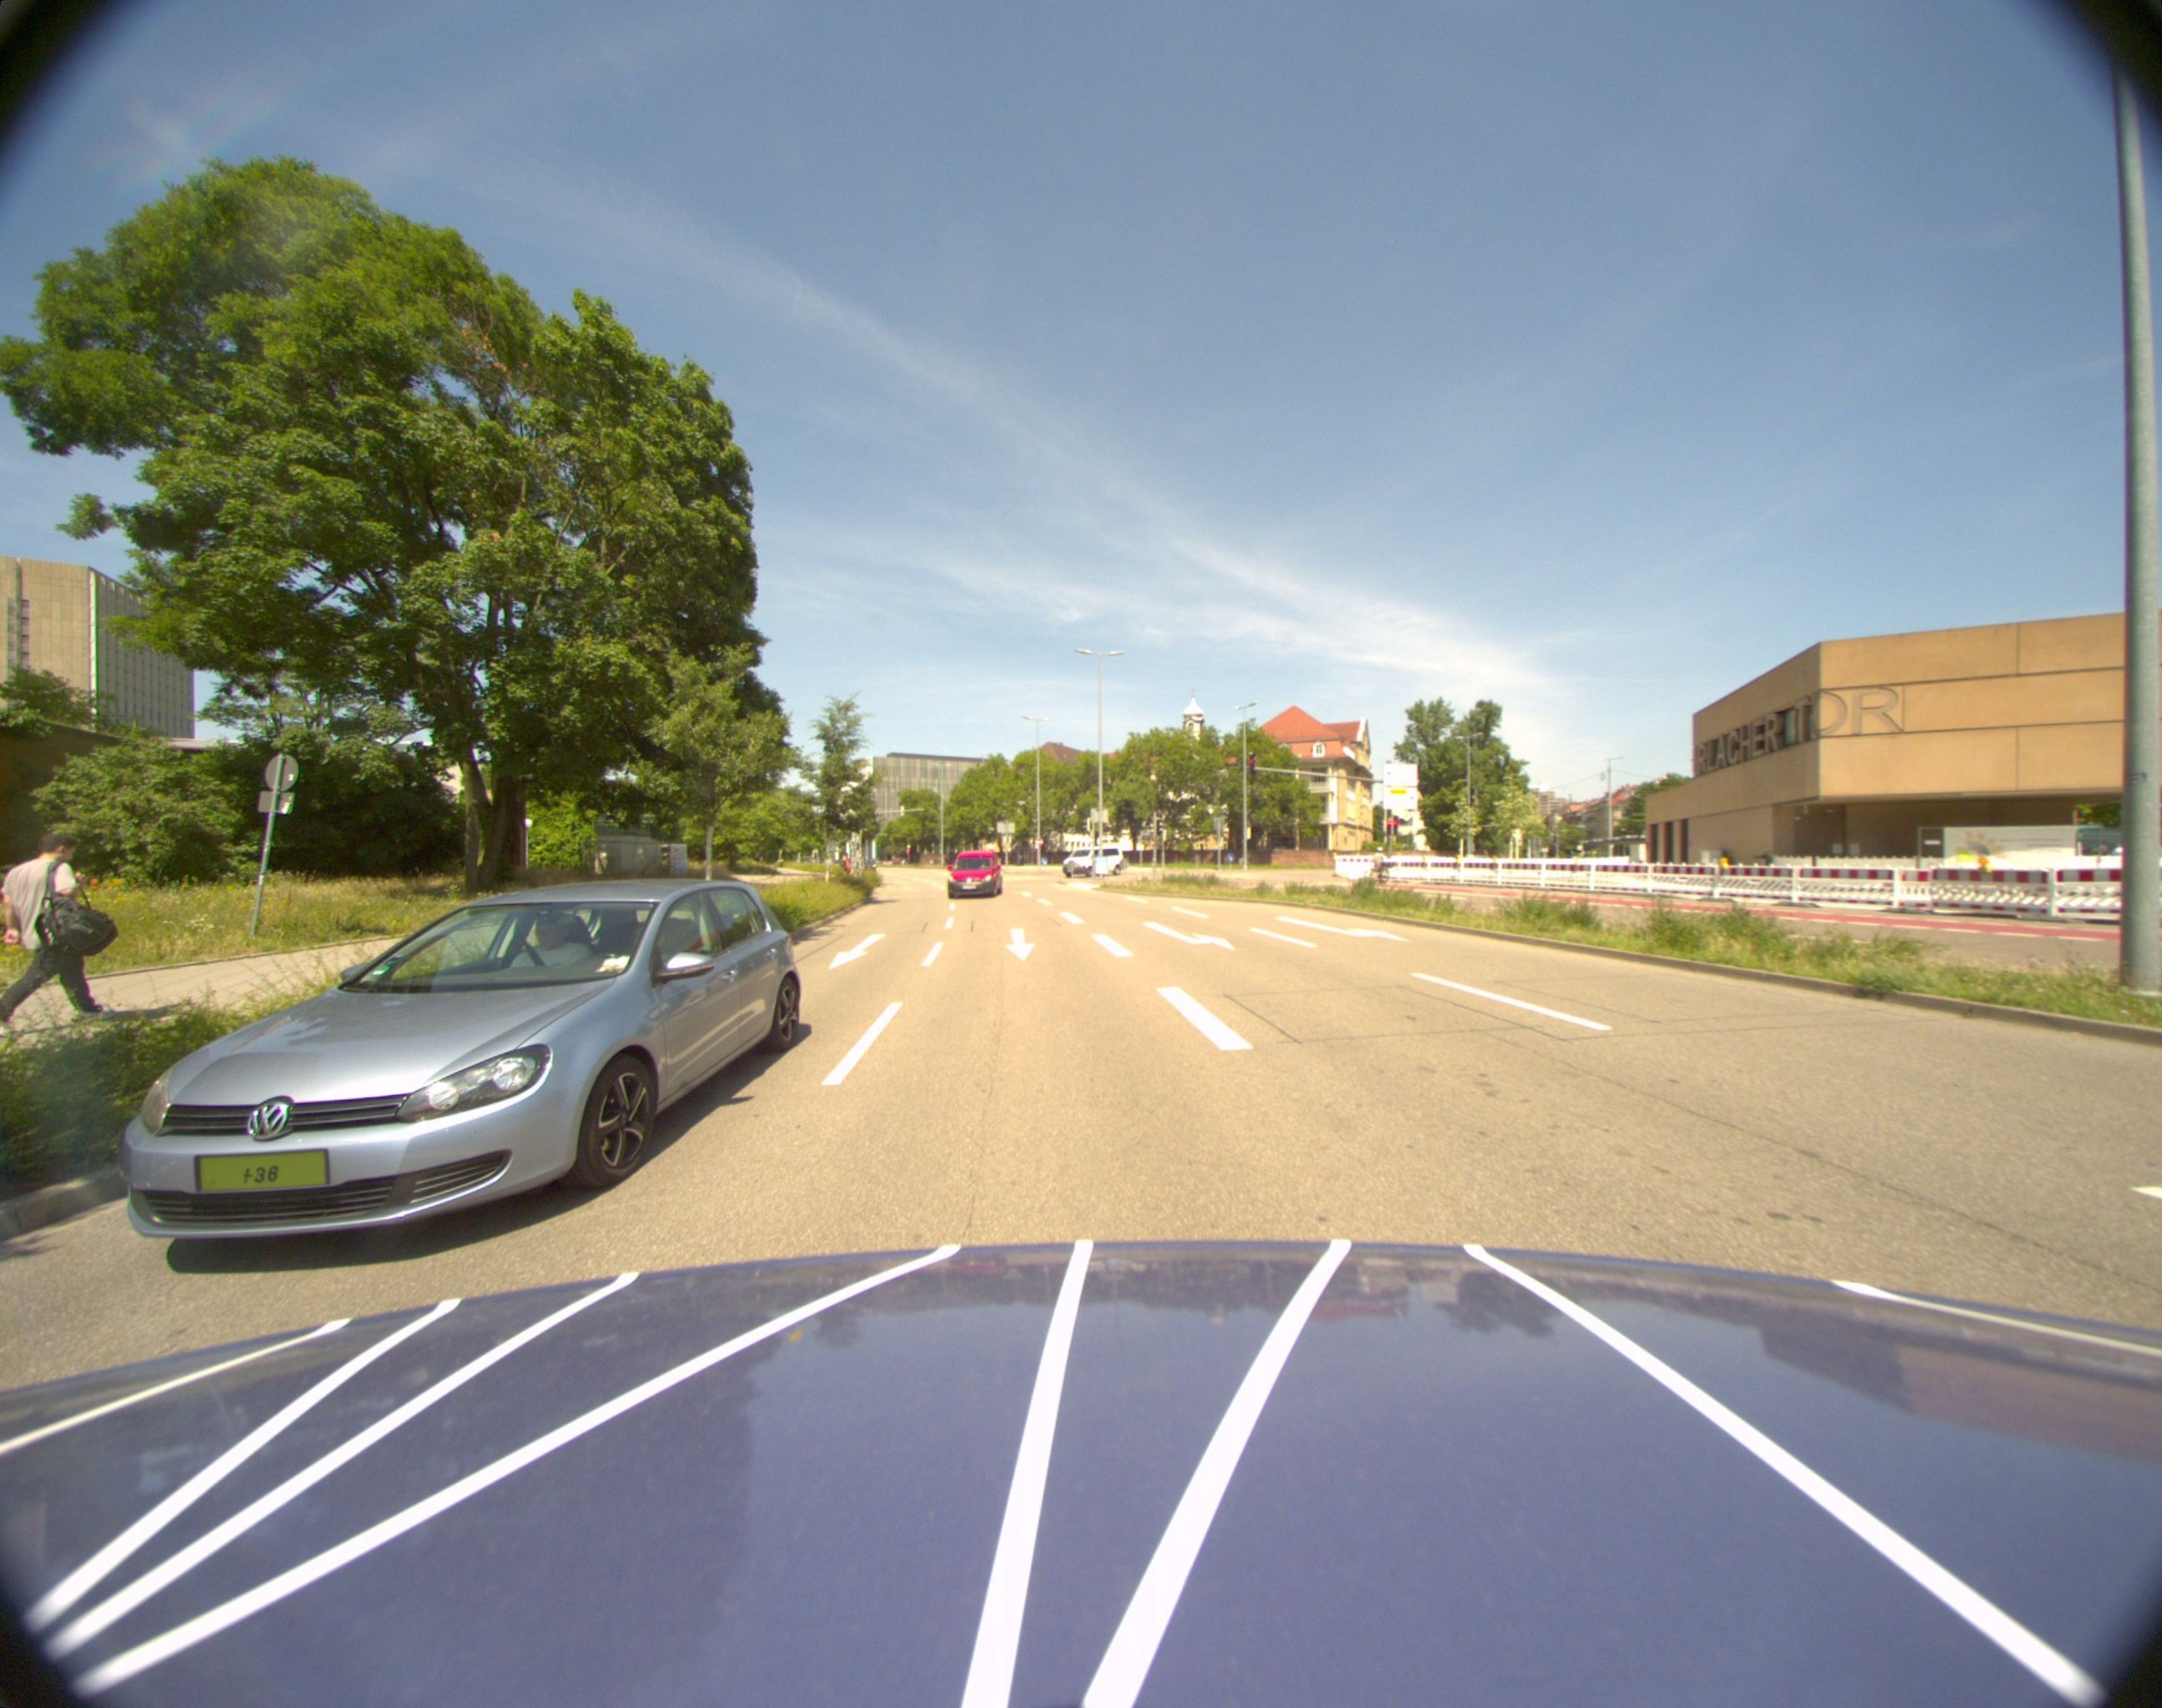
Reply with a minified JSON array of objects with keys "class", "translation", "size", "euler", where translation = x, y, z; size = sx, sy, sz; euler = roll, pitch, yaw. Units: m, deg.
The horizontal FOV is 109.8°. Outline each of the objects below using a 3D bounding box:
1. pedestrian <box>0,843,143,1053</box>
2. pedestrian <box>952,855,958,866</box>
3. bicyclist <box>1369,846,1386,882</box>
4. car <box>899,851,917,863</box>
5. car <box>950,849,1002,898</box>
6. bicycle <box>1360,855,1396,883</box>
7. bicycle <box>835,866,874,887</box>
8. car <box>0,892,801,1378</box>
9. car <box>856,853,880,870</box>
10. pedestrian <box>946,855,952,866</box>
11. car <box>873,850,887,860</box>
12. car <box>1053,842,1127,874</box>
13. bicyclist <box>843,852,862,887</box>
[{"class":"pedestrian","translation":[-8.958,0.767,6.531],"size":[0.734,1.696,0.810],"euler":[-1,0,1]},{"class":"pedestrian","translation":[-22.434,1.133,134.751],"size":[0.790,2.001,0.838],"euler":[-1,-2,-28]},{"class":"bicyclist","translation":[13.118,0.431,33.644],"size":[0.531,1.570,0.498],"euler":[-1,1,-12]},{"class":"car","translation":[-30.135,0.486,132.142],"size":[2.003,2.001,4.206],"euler":[0,-2,-28]},{"class":"car","translation":[-4.076,0.781,30.094],"size":[1.833,1.755,4.278],"euler":[-1,-2,-5]},{"class":"bicycle","translation":[13.122,0.637,33.606],"size":[0.524,1.174,1.896],"euler":[-1,1,-12]},{"class":"bicycle","translation":[-11.286,1.118,37.856],"size":[1.992,1.039,0.560],"euler":[0,-1,24]},{"class":"car","translation":[-3.208,1.040,4.566],"size":[1.833,1.406,3.992],"euler":[0,0,-4]},{"class":"car","translation":[-21.236,0.793,75.765],"size":[1.711,1.576,4.548],"euler":[-1,-2,-23]},{"class":"pedestrian","translation":[-23.328,1.147,134.399],"size":[0.790,2.001,0.962],"euler":[-1,-2,-28]},{"class":"car","translation":[-36.519,0.226,138.126],"size":[1.784,1.673,3.993],"euler":[-1,-2,-26]},{"class":"car","translation":[0.668,0.308,50.363],"size":[1.995,1.973,5.408],"euler":[-2,-2,39]},{"class":"bicyclist","translation":[-11.401,0.785,37.939],"size":[0.701,1.705,0.552],"euler":[0,-1,24]}]
